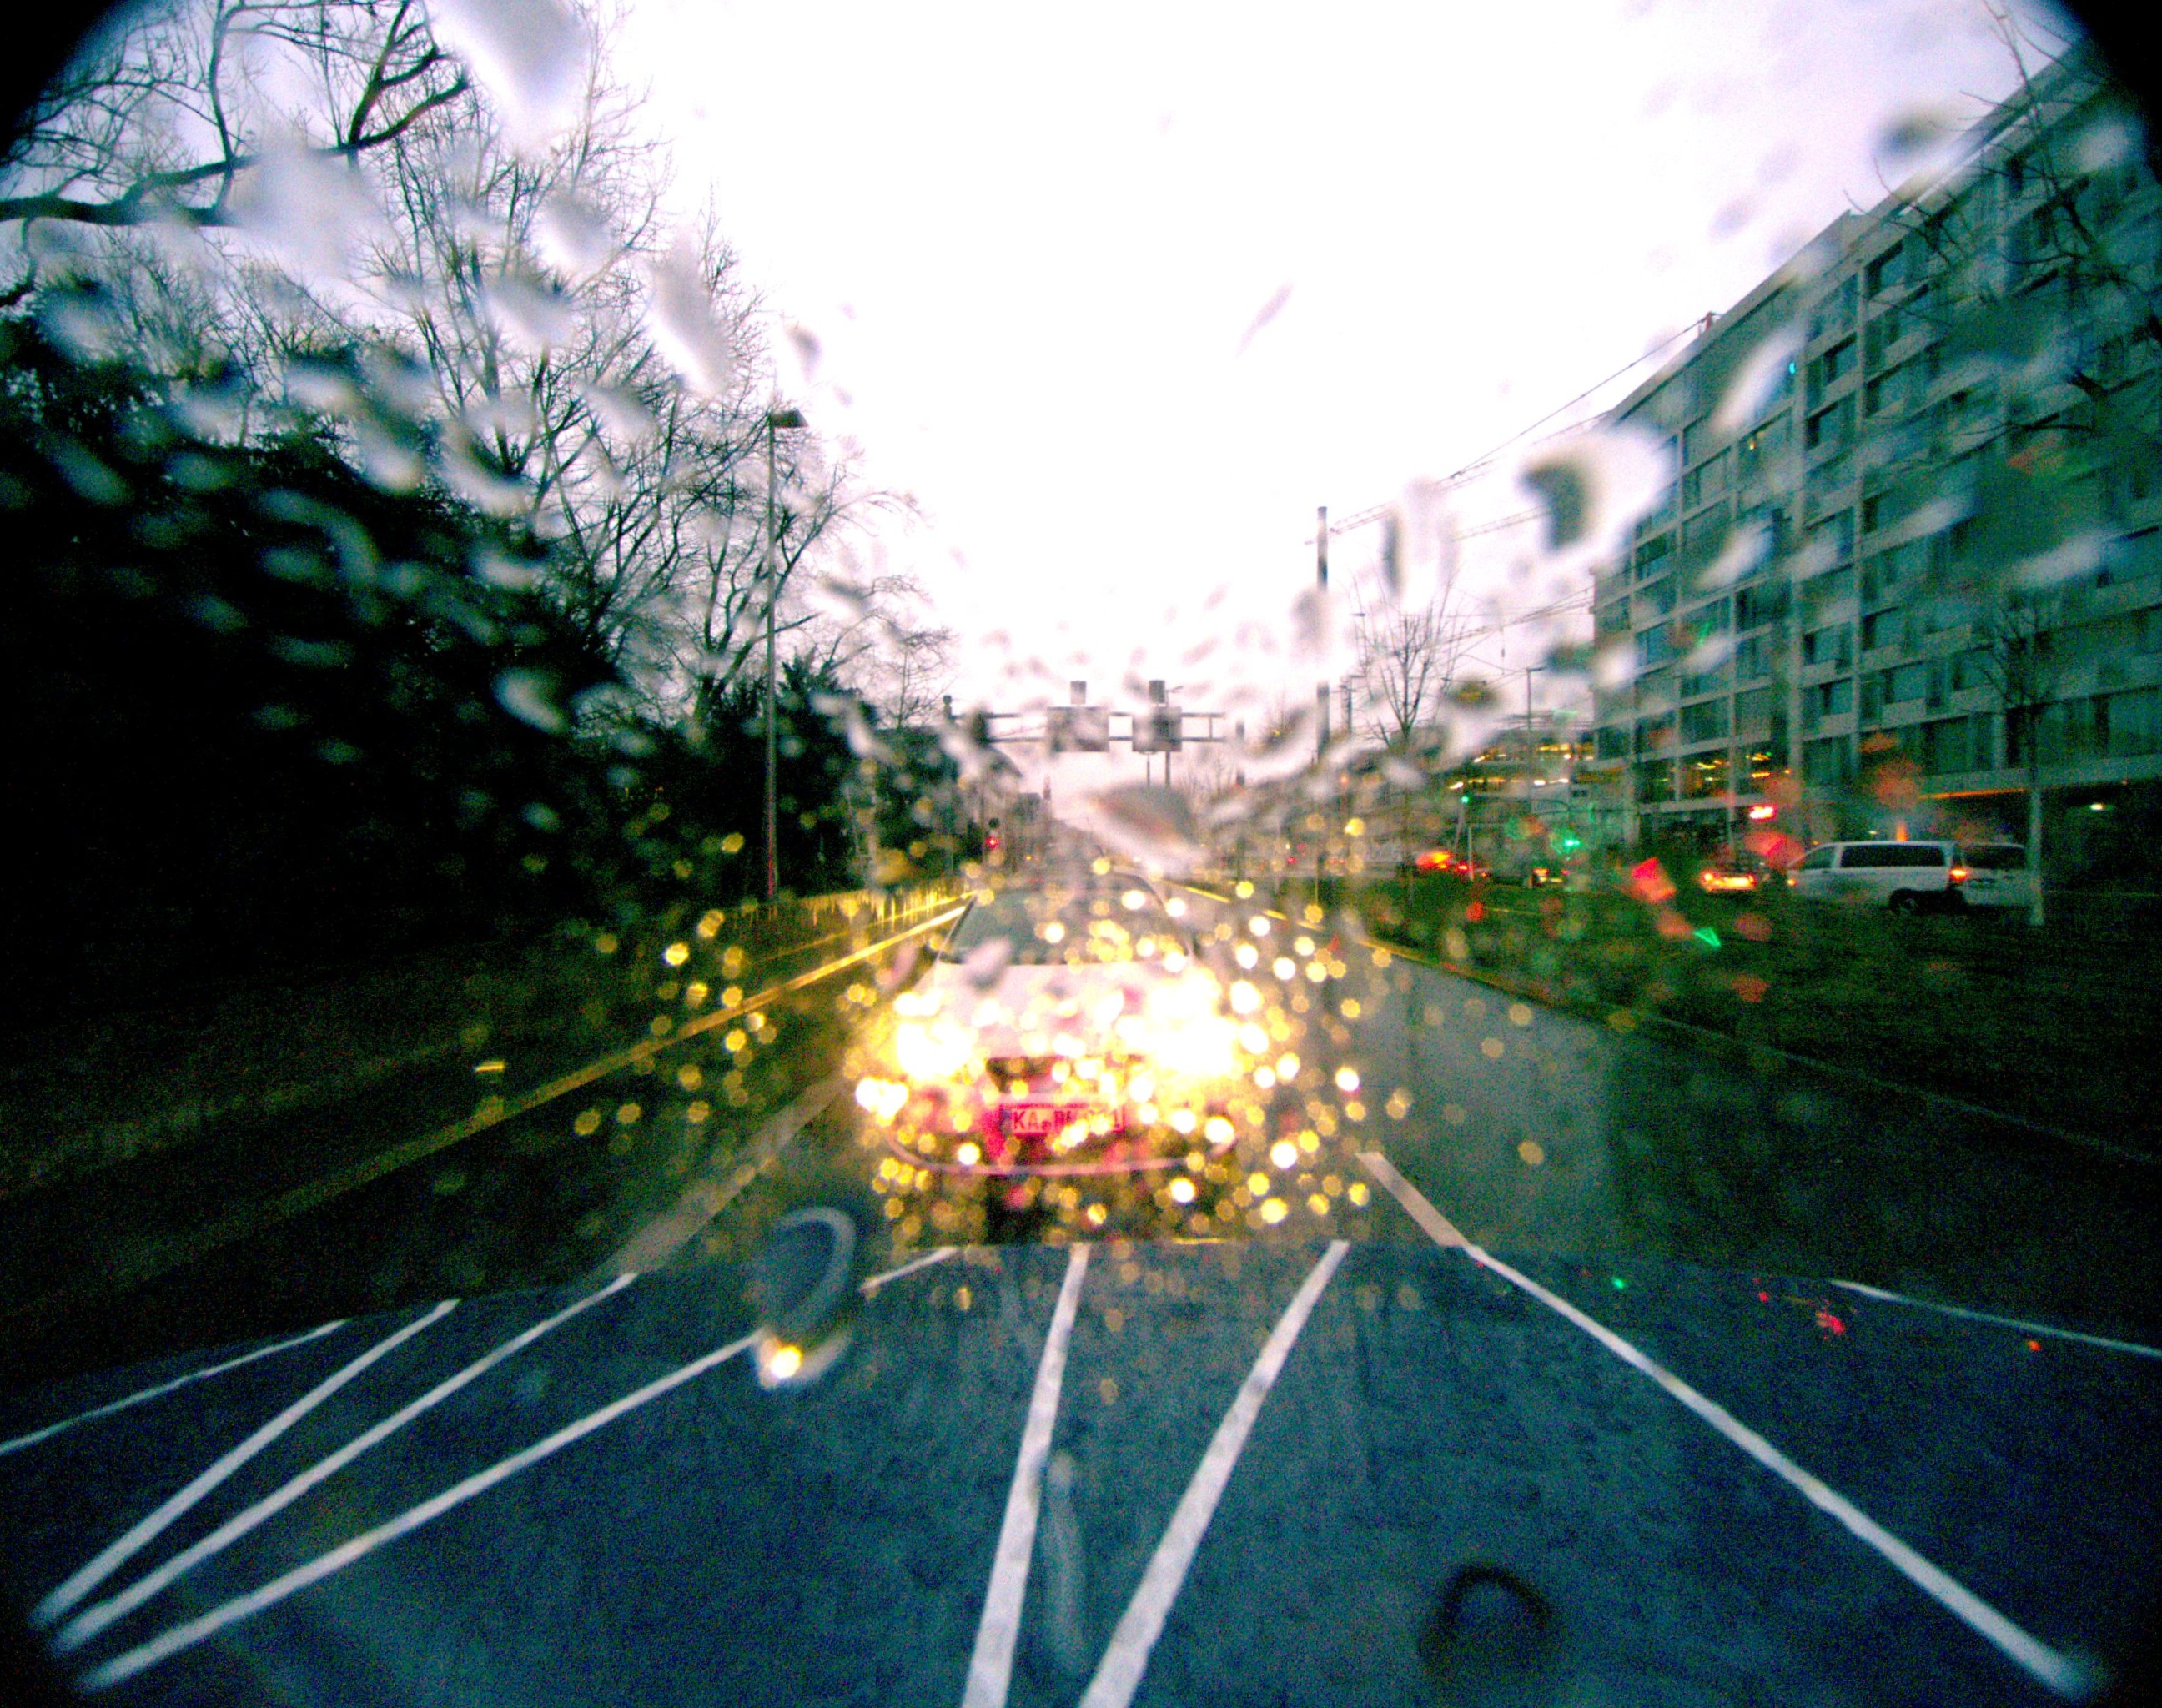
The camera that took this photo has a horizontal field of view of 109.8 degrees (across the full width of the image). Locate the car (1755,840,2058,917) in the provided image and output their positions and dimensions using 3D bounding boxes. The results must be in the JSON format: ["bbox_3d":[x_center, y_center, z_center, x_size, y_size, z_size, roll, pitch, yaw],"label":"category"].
[{"bbox_3d":[20.012,0.523,18.890,2.086,1.659,5.043,0,0,1],"label":"car"}]

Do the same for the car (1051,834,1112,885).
[{"bbox_3d":[0.033,0.165,27.484,1.998,1.618,4.268,-2,0,0],"label":"car"}]

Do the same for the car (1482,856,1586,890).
[{"bbox_3d":[20.299,0.802,34.288,2.111,1.392,4.257,0,0,-1],"label":"car"}]

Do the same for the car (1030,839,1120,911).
[{"bbox_3d":[-0.107,0.474,20.032,2.073,1.618,4.268,-2,1,1],"label":"car"}]

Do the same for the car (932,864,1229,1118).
[{"bbox_3d":[0.024,0.896,6.908,1.886,1.552,4.171,0,0,1],"label":"car"}]

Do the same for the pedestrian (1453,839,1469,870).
[{"bbox_3d":[22.673,0.042,45.330,0.708,1.794,0.771,-2,1,20],"label":"pedestrian"}]

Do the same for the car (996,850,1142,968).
[{"bbox_3d":[-0.220,0.798,13.251,2.073,1.618,4.267,-2,1,-1],"label":"car"}]

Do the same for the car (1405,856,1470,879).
[{"bbox_3d":[20.169,0.740,43.194,1.816,1.267,3.999,0,0,-1],"label":"car"}]

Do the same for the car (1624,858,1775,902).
[{"bbox_3d":[20.379,0.813,25.291,1.816,1.300,4.000,0,0,1],"label":"car"}]
